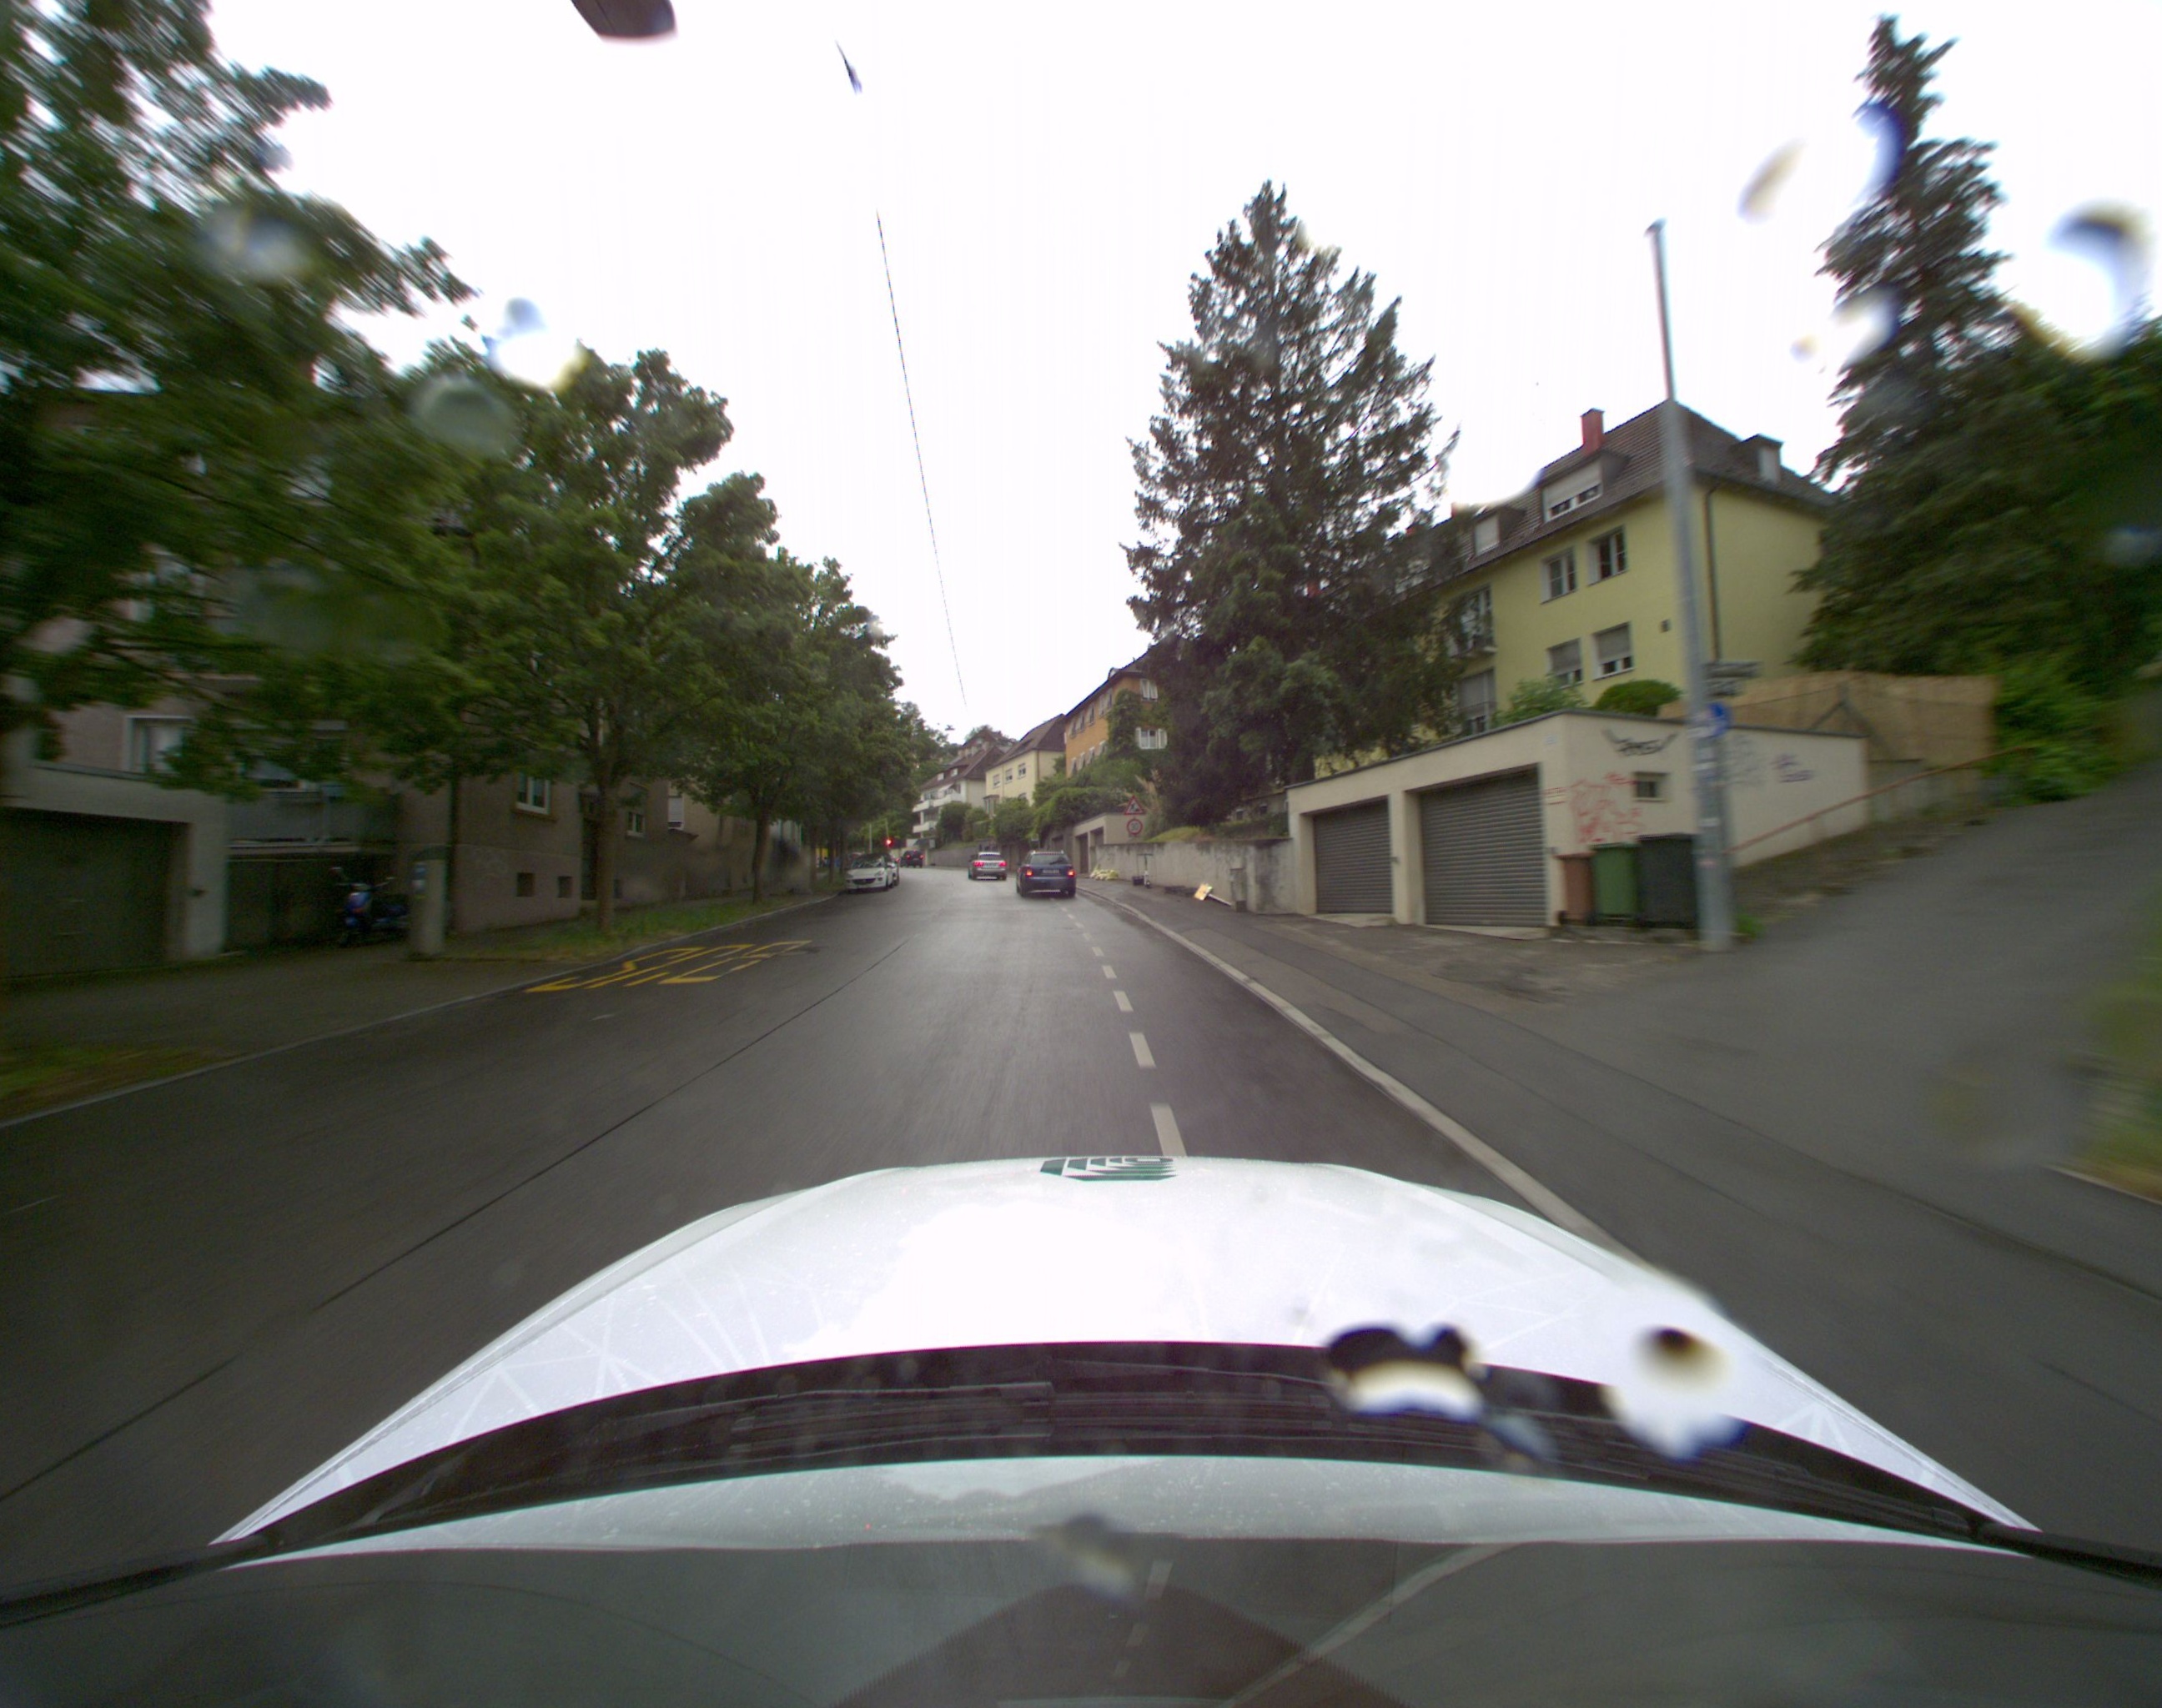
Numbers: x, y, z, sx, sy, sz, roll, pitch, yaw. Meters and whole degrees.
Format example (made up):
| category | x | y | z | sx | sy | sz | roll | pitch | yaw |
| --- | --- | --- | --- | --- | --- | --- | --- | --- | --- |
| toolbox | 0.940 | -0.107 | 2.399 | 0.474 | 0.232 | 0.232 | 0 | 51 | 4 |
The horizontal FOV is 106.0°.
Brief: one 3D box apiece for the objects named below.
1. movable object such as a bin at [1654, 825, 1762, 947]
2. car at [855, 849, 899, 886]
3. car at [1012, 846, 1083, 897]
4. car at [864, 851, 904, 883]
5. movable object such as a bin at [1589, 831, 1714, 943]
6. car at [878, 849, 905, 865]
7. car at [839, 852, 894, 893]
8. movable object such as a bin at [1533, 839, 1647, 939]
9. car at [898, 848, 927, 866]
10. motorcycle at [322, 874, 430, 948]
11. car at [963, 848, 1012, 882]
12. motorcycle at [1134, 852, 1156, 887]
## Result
| category | x | y | z | sx | sy | sz | roll | pitch | yaw |
| --- | --- | --- | --- | --- | --- | --- | --- | --- | --- |
| movable object such as a bin | 6.709 | 0.332 | 8.728 | 0.704 | 1.223 | 0.577 | -3 | 0 | -18 |
| car | -9.714 | 0.619 | 39.038 | 1.880 | 1.596 | 3.983 | -2 | 0 | -13 |
| car | -1.182 | 0.545 | 26.855 | 1.853 | 1.414 | 4.349 | -3 | 0 | -8 |
| car | -10.708 | 0.696 | 44.391 | 1.996 | 1.574 | 3.982 | -3 | 0 | -13 |
| movable object such as a bin | 6.569 | 0.366 | 9.404 | 0.862 | 1.185 | 0.782 | -3 | 0 | -18 |
| car | -21.612 | 0.350 | 92.723 | 2.005 | 1.684 | 3.964 | -2 | 0 | -28 |
| car | -8.950 | 0.723 | 34.219 | 1.996 | 1.530 | 3.983 | -2 | 0 | -13 |
| movable object such as a bin | 6.318 | 0.414 | 10.130 | 0.862 | 1.142 | 0.794 | -3 | 0 | -18 |
| car | -17.499 | 0.341 | 84.601 | 2.004 | 1.684 | 3.966 | -2 | 0 | -25 |
| motorcycle | -12.745 | 0.996 | 14.798 | 0.613 | 1.159 | 1.695 | -1 | 1 | -7 |
| car | -5.034 | 0.561 | 43.504 | 1.954 | 1.561 | 4.242 | -1 | 2 | -15 |
| motorcycle | 2.163 | 0.502 | 27.505 | 0.547 | 1.131 | 1.439 | -2 | 0 | -2 |
